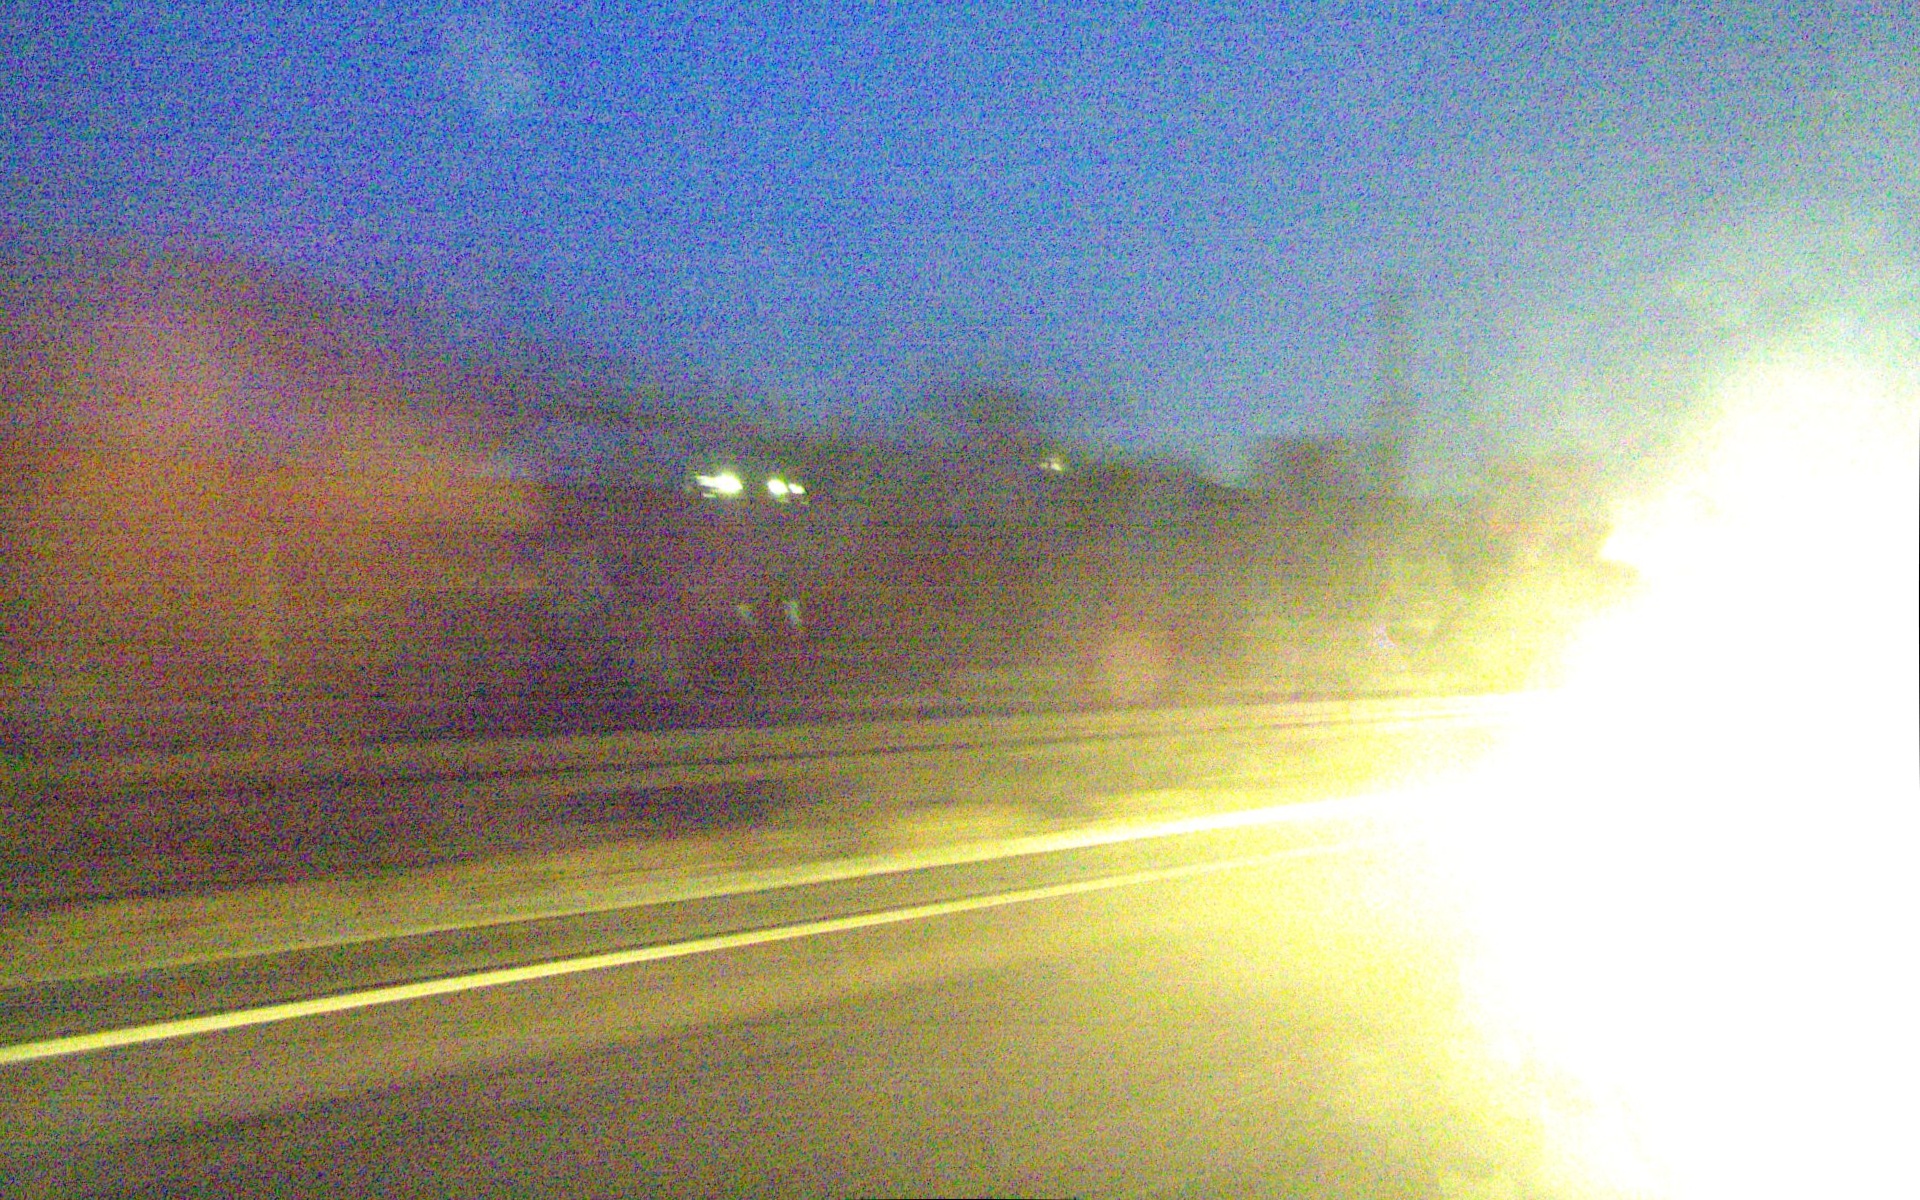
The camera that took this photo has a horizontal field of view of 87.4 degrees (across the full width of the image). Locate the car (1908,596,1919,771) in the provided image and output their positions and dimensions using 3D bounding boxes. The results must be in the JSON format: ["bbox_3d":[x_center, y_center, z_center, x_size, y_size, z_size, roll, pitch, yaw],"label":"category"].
[{"bbox_3d":[11.809,0.896,10.527,3.833,1.783,1.734,1,0,-31],"label":"car"}]
